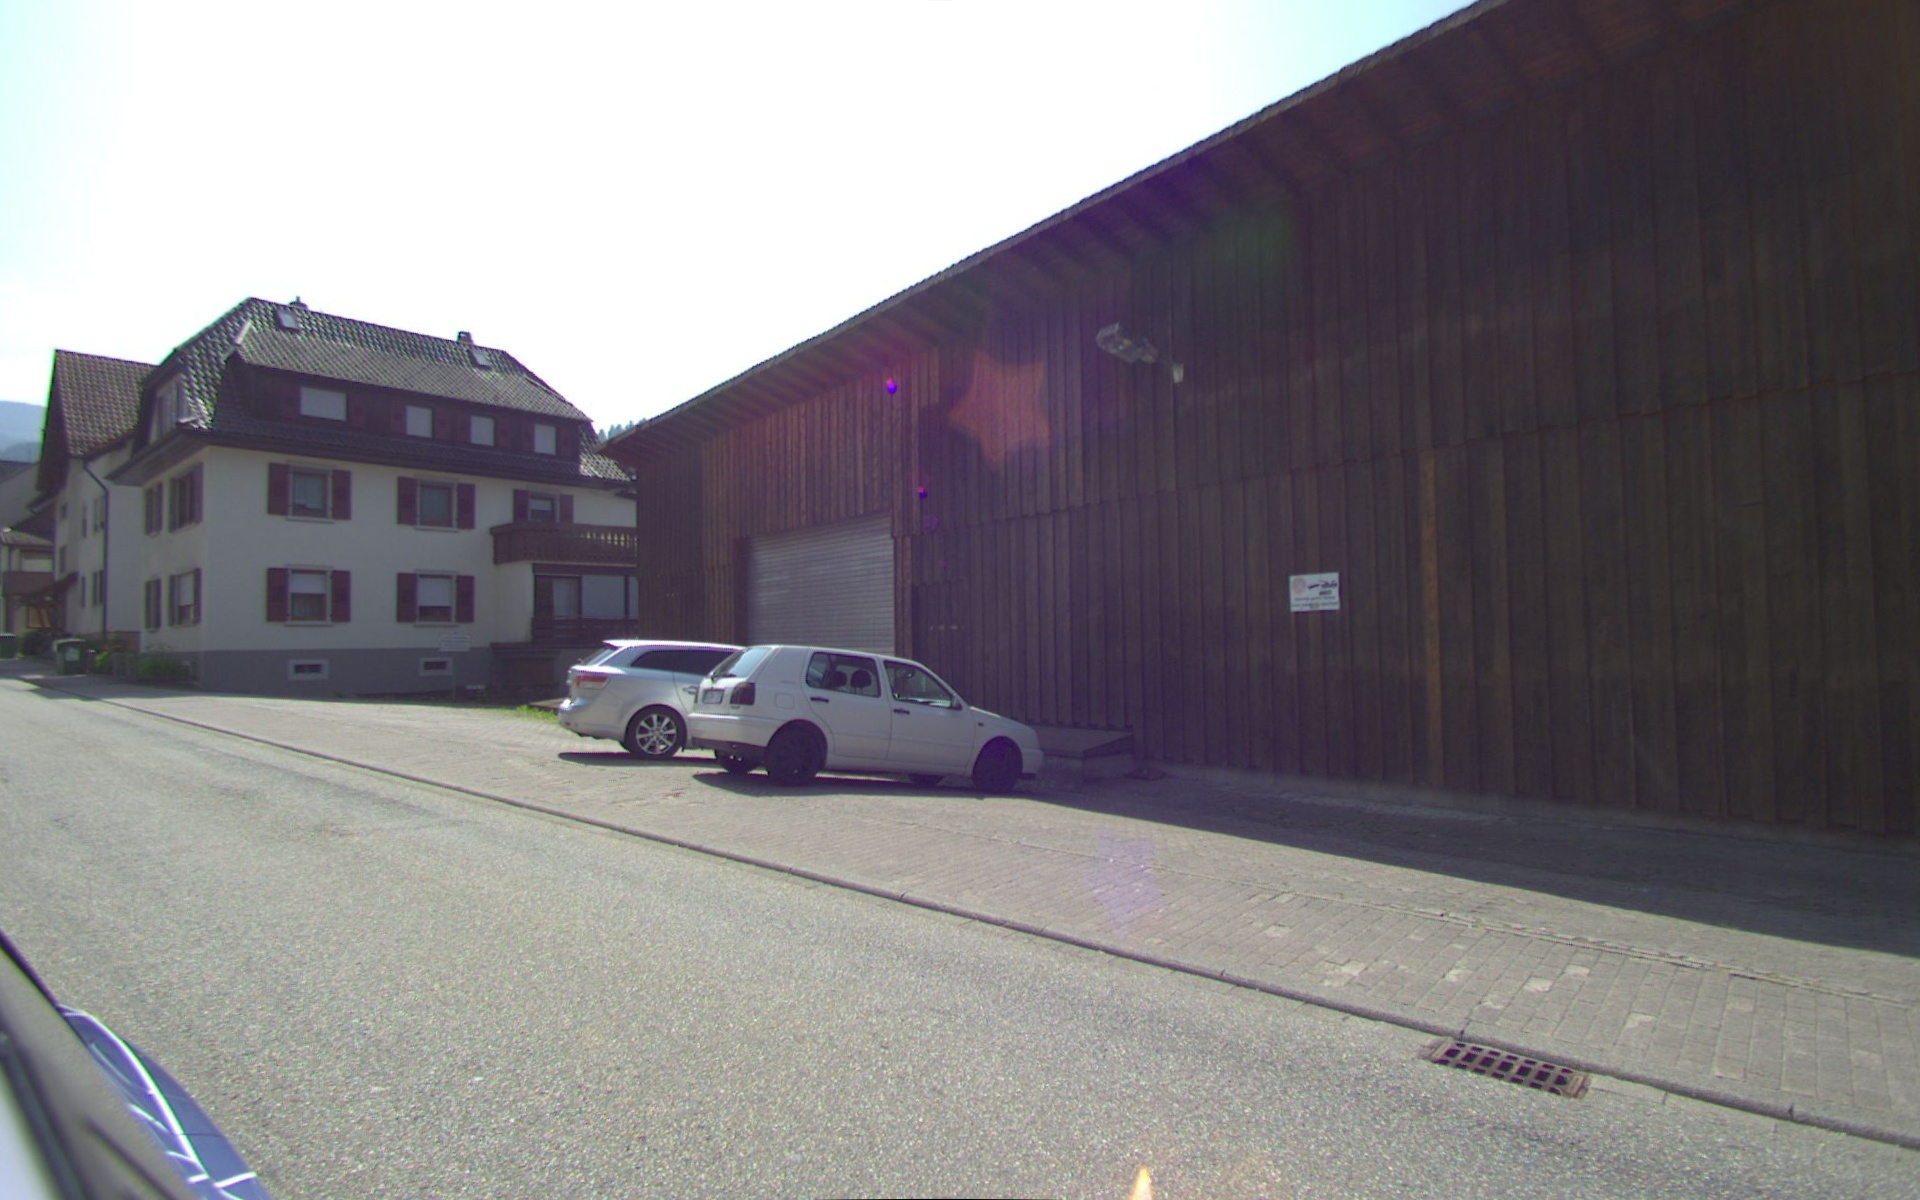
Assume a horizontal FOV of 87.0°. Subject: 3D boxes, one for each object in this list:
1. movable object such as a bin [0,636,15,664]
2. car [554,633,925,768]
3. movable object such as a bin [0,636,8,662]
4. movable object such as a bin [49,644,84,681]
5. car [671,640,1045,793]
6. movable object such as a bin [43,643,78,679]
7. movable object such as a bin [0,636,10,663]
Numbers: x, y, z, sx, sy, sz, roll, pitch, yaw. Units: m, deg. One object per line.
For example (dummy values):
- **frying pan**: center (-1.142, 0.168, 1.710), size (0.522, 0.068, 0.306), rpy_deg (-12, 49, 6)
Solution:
- **movable object such as a bin**: center (-41.808, 2.174, 44.150), size (0.598, 1.190, 0.710), rpy_deg (-2, -4, 41)
- **car**: center (-2.872, 1.327, 13.226), size (4.367, 1.486, 1.930), rpy_deg (5, -5, -23)
- **movable object such as a bin**: center (-43.292, 2.196, 45.442), size (0.598, 1.190, 0.710), rpy_deg (-2, -4, 41)
- **movable object such as a bin**: center (-26.626, 1.849, 30.168), size (0.621, 1.075, 0.669), rpy_deg (-1, -3, 39)
- **car**: center (-1.046, 1.261, 11.042), size (3.610, 1.396, 1.715), rpy_deg (6, -5, -34)
- **movable object such as a bin**: center (-27.534, 1.861, 30.979), size (0.653, 1.075, 0.669), rpy_deg (-1, -3, 39)
- **movable object such as a bin**: center (-42.804, 2.188, 44.998), size (0.598, 1.190, 0.710), rpy_deg (-2, -4, 41)
